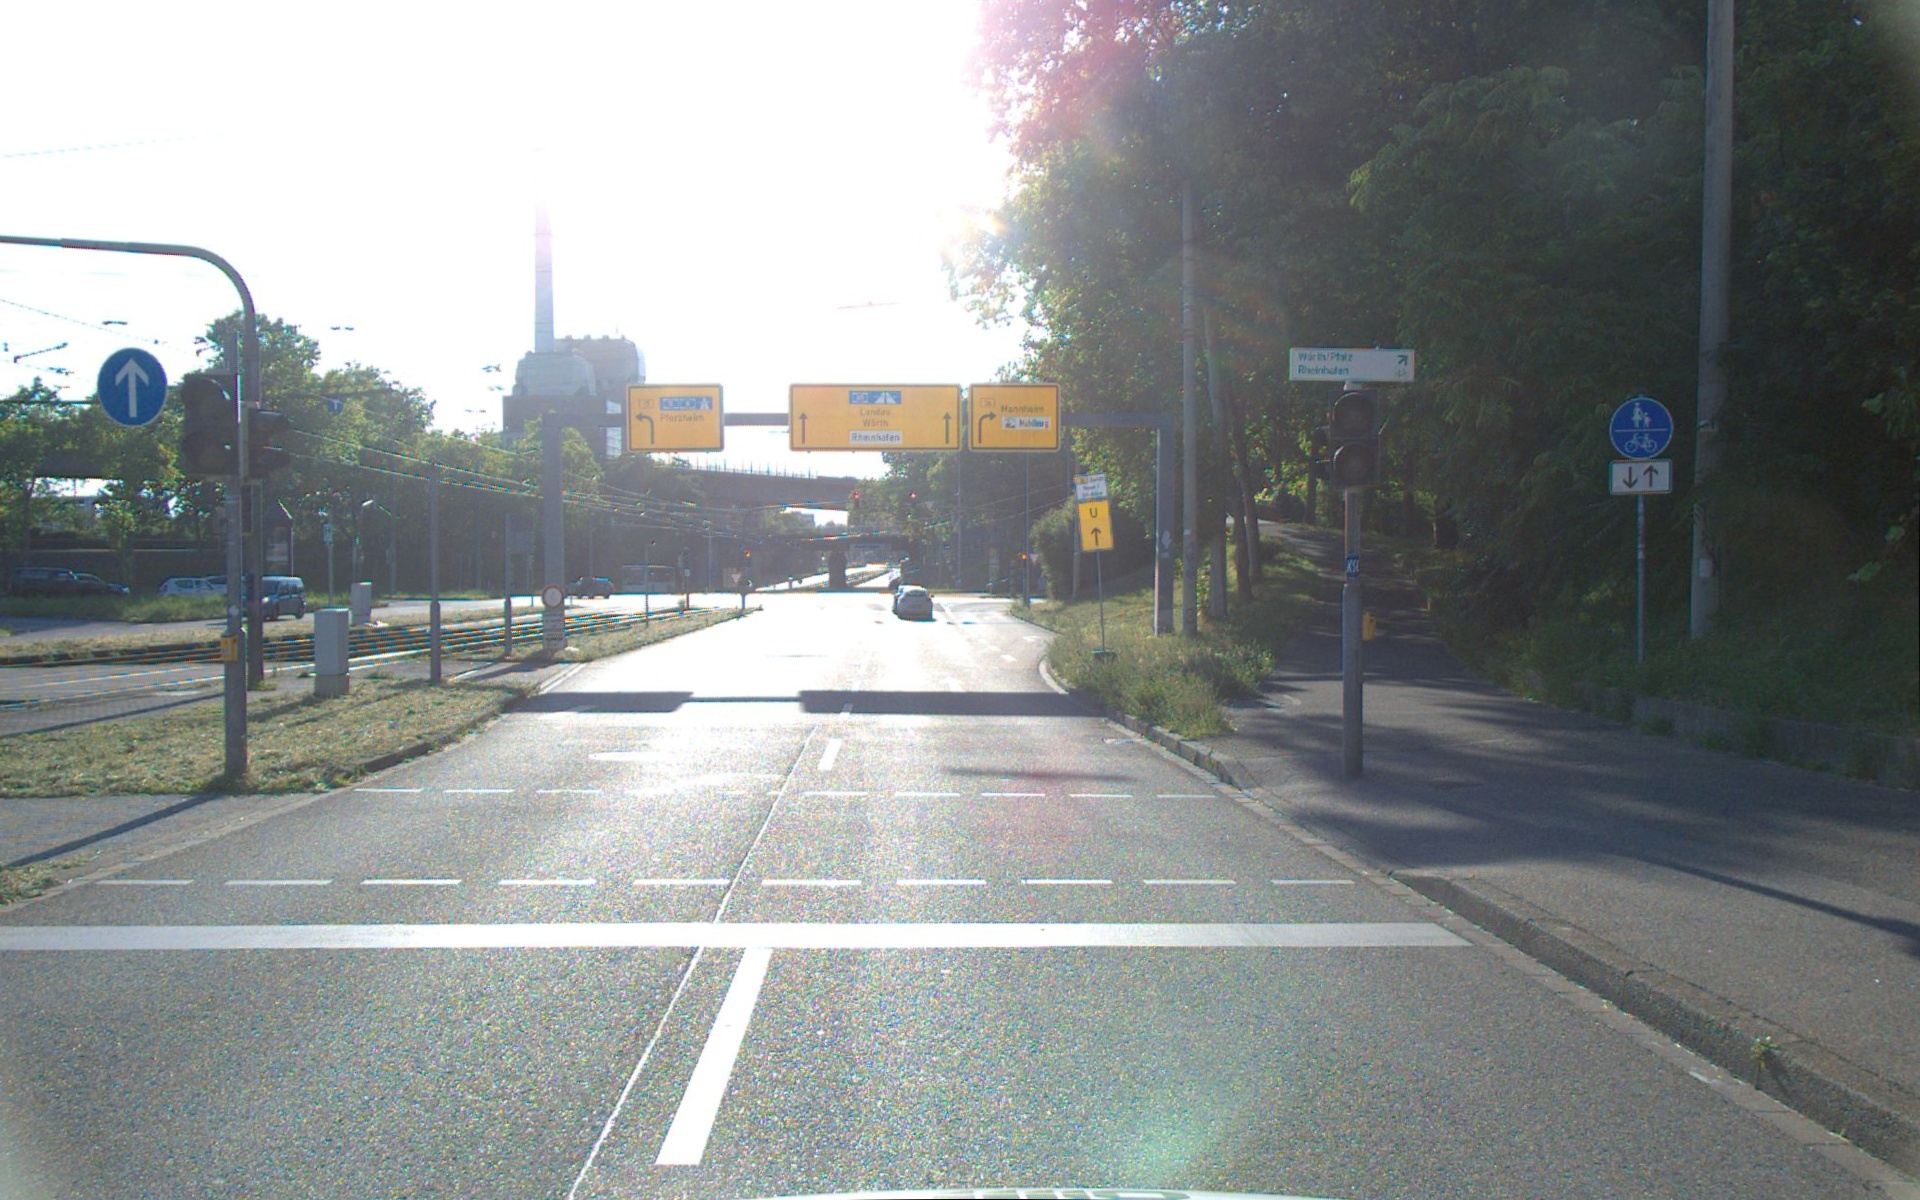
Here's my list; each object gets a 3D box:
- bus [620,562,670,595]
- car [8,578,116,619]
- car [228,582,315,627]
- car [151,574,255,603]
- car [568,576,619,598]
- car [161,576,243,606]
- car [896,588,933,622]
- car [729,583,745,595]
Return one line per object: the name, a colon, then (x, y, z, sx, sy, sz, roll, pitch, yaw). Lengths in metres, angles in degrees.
bus: (-32.173, -2.141, 169.626, 2.491, 3.185, 12.918, 0, 0, 1)
car: (-46.836, -0.085, 86.287, 4.880, 2.025, 2.015, 0, 1, -32)
car: (-29.160, 0.163, 70.196, 1.893, 1.818, 4.260, 0, 1, 0)
car: (-42.602, -0.642, 93.196, 5.283, 1.602, 1.727, 0, 1, -26)
car: (-26.669, -0.931, 120.151, 3.931, 1.531, 1.731, 1, 2, 43)
car: (-41.176, -0.470, 89.843, 3.941, 1.602, 1.678, 0, 1, -28)
car: (-2.259, 0.224, 80.629, 1.702, 1.531, 3.998, 0, 1, -3)
car: (-29.284, -1.440, 216.901, 1.574, 1.443, 4.008, 1, 1, 0)
